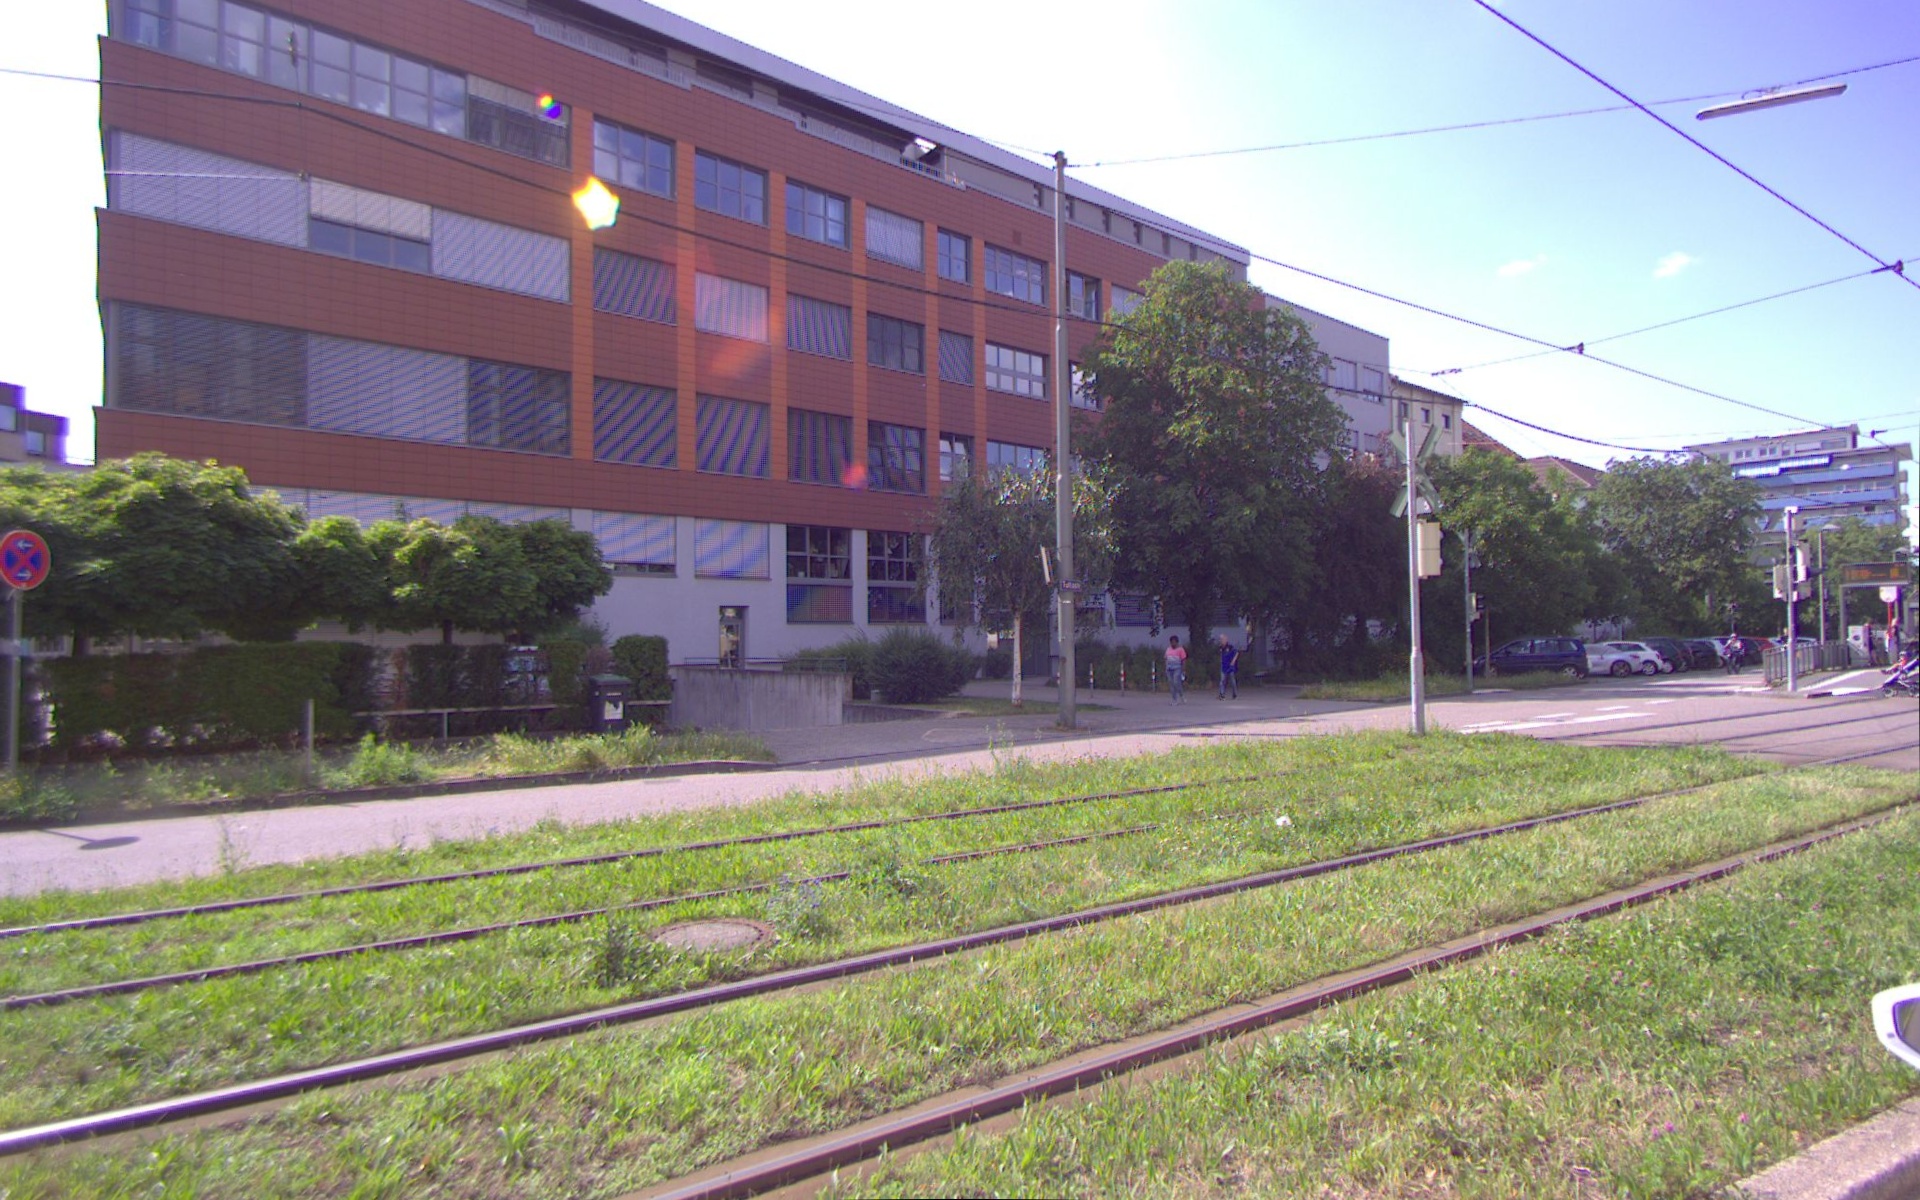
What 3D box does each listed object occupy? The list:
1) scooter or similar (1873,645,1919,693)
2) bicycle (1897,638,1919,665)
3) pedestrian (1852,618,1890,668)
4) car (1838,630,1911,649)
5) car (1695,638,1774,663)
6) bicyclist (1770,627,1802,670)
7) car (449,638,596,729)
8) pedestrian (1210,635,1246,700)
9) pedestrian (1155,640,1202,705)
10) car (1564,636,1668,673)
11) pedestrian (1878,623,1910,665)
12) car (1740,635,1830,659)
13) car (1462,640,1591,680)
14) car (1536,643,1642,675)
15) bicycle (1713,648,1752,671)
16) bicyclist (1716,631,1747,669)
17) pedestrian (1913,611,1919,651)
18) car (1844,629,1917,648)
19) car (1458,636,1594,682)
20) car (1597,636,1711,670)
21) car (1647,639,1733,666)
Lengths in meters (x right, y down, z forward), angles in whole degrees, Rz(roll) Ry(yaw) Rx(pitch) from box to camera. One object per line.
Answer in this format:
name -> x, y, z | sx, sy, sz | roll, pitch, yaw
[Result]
scooter or similar -> 21.655, 1.579, 22.989 | 0.790, 1.078, 0.947 | 1, -5, -39
bicycle -> 36.753, 1.960, 38.461 | 1.749, 0.987, 0.683 | 0, -5, -29
pedestrian -> 32.730, 1.545, 36.087 | 0.654, 1.749, 0.715 | -1, -2, 4
car -> 70.813, 3.080, 77.821 | 3.919, 1.404, 1.641 | -1, -2, 7
car -> 43.434, 2.850, 56.362 | 3.181, 1.326, 1.457 | -1, -2, 6
bicyclist -> 40.137, 2.366, 48.803 | 0.938, 2.039, 1.567 | -5, -6, 44
car -> -8.909, 1.608, 20.292 | 1.980, 1.617, 3.962 | 1, -3, -35
pedestrian -> 7.075, 1.767, 26.522 | 0.738, 1.678, 0.554 | 1, -3, -30
pedestrian -> 5.418, 1.799, 24.965 | 0.879, 1.594, 0.742 | 2, -4, -30
car -> 27.940, 2.328, 42.879 | 3.320, 1.524, 1.545 | -1, -3, 14
pedestrian -> 36.601, 1.724, 39.373 | 0.678, 1.589, 0.660 | 1, -4, -31
car -> 51.190, 2.946, 62.400 | 3.919, 1.385, 1.718 | -2, -3, 11
car -> 22.226, 2.354, 39.542 | 4.049, 1.518, 1.727 | -1, -3, 13
car -> 25.622, 2.410, 41.023 | 3.320, 1.252, 1.546 | -1, -3, 13
bicycle -> 33.379, 2.565, 43.383 | 2.157, 0.983, 0.676 | 1, -4, -35
bicyclist -> 33.277, 2.156, 43.333 | 0.855, 1.602, 0.780 | 1, -4, -35
pedestrian -> 41.573, 1.335, 43.206 | 0.650, 1.714, 0.650 | 1, -4, -38
car -> 74.700, 3.165, 81.564 | 3.920, 1.466, 1.729 | -2, -3, 17
car -> 21.074, 2.203, 37.534 | 4.049, 1.662, 1.727 | -1, -2, 13
car -> 31.982, 2.465, 46.421 | 3.919, 1.475, 1.692 | -2, -3, 12
car -> 36.643, 2.631, 50.459 | 3.181, 1.326, 1.457 | -1, -2, 3
